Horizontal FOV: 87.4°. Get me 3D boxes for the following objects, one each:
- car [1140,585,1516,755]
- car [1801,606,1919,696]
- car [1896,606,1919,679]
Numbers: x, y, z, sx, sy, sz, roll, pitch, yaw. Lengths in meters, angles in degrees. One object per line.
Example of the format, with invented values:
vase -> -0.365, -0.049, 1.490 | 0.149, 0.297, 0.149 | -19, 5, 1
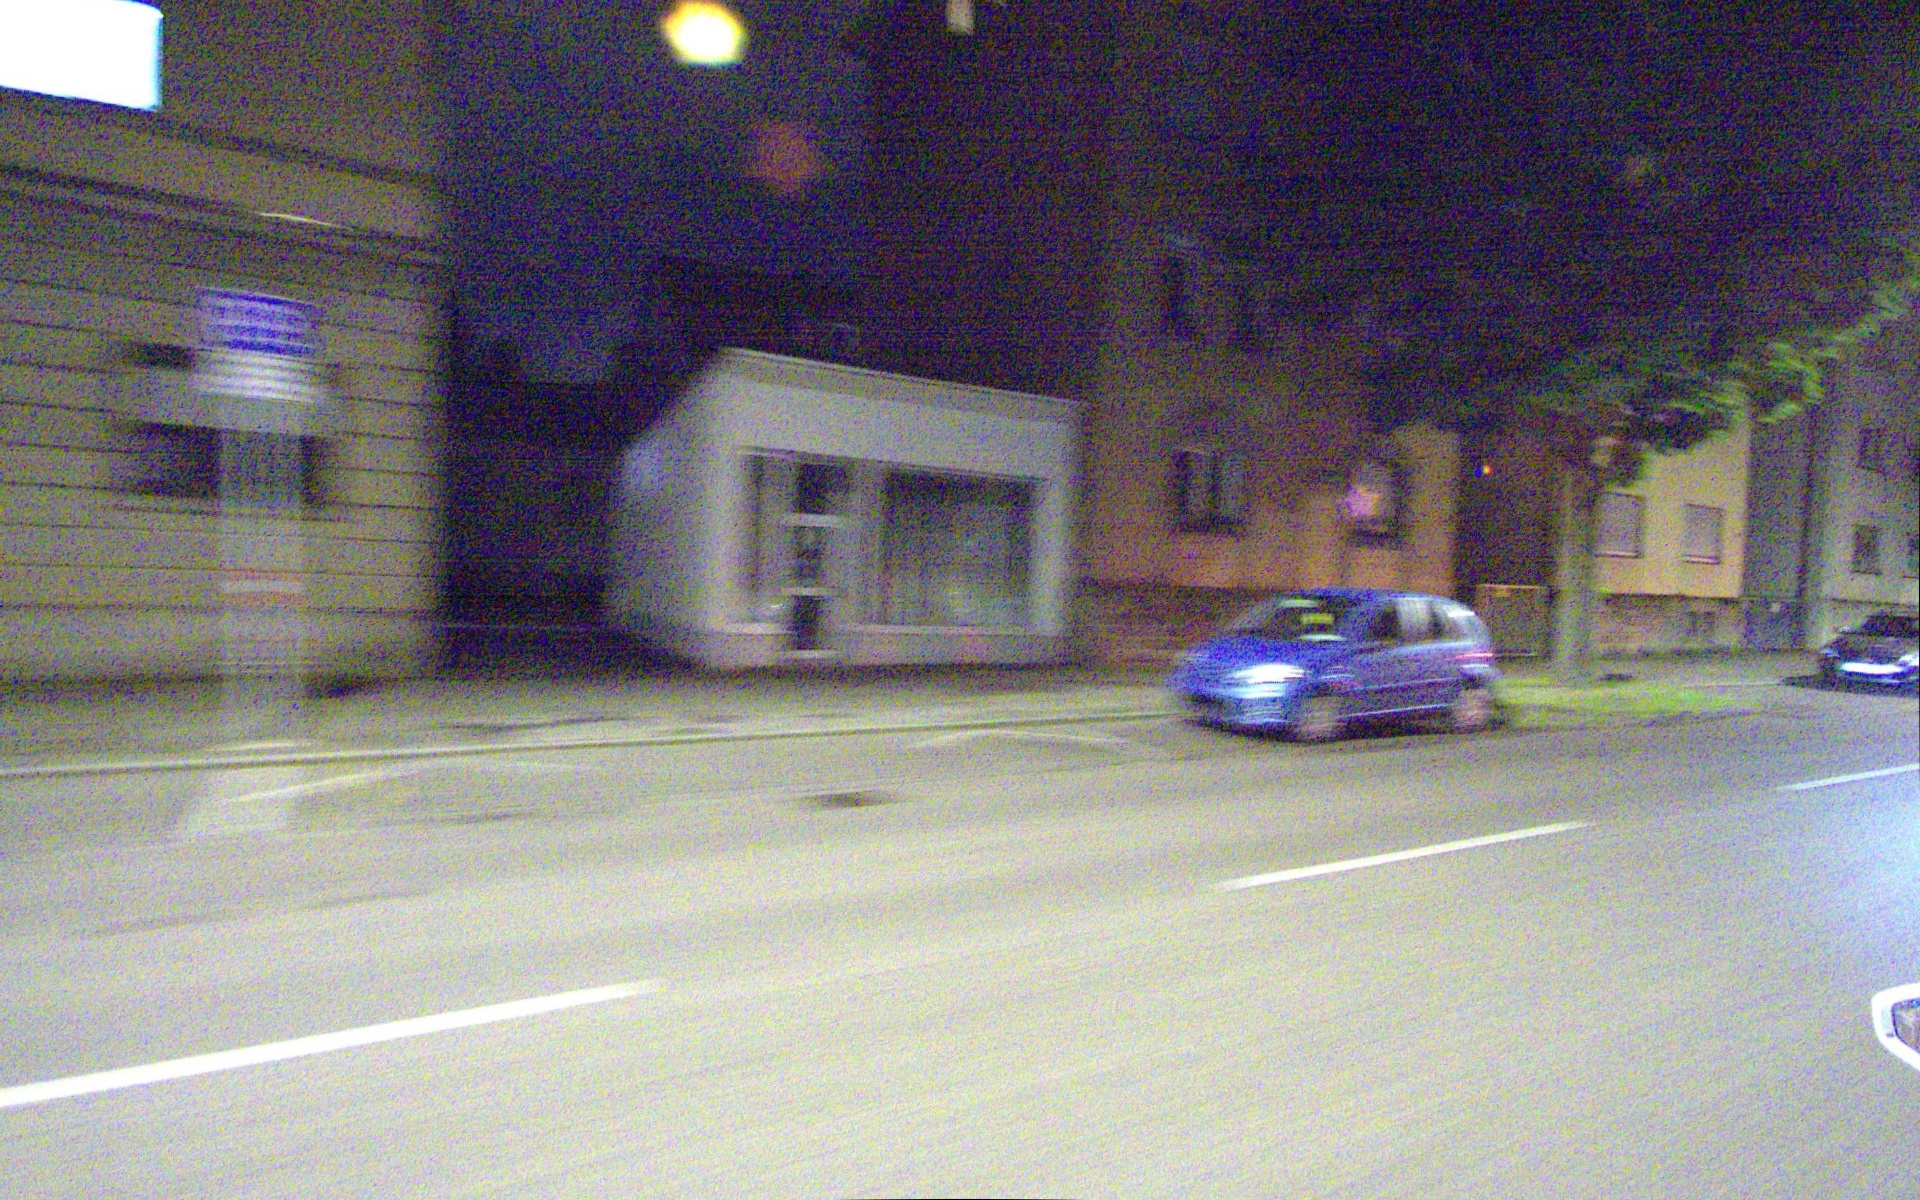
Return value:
car -> 4.045, 0.651, 10.914 | 3.943, 1.514, 1.705 | 1, 2, -31
car -> 17.987, 0.908, 19.031 | 4.714, 1.505, 1.758 | 1, 1, -32
car -> 22.263, 0.939, 21.676 | 4.808, 1.505, 1.759 | 1, 1, -31
